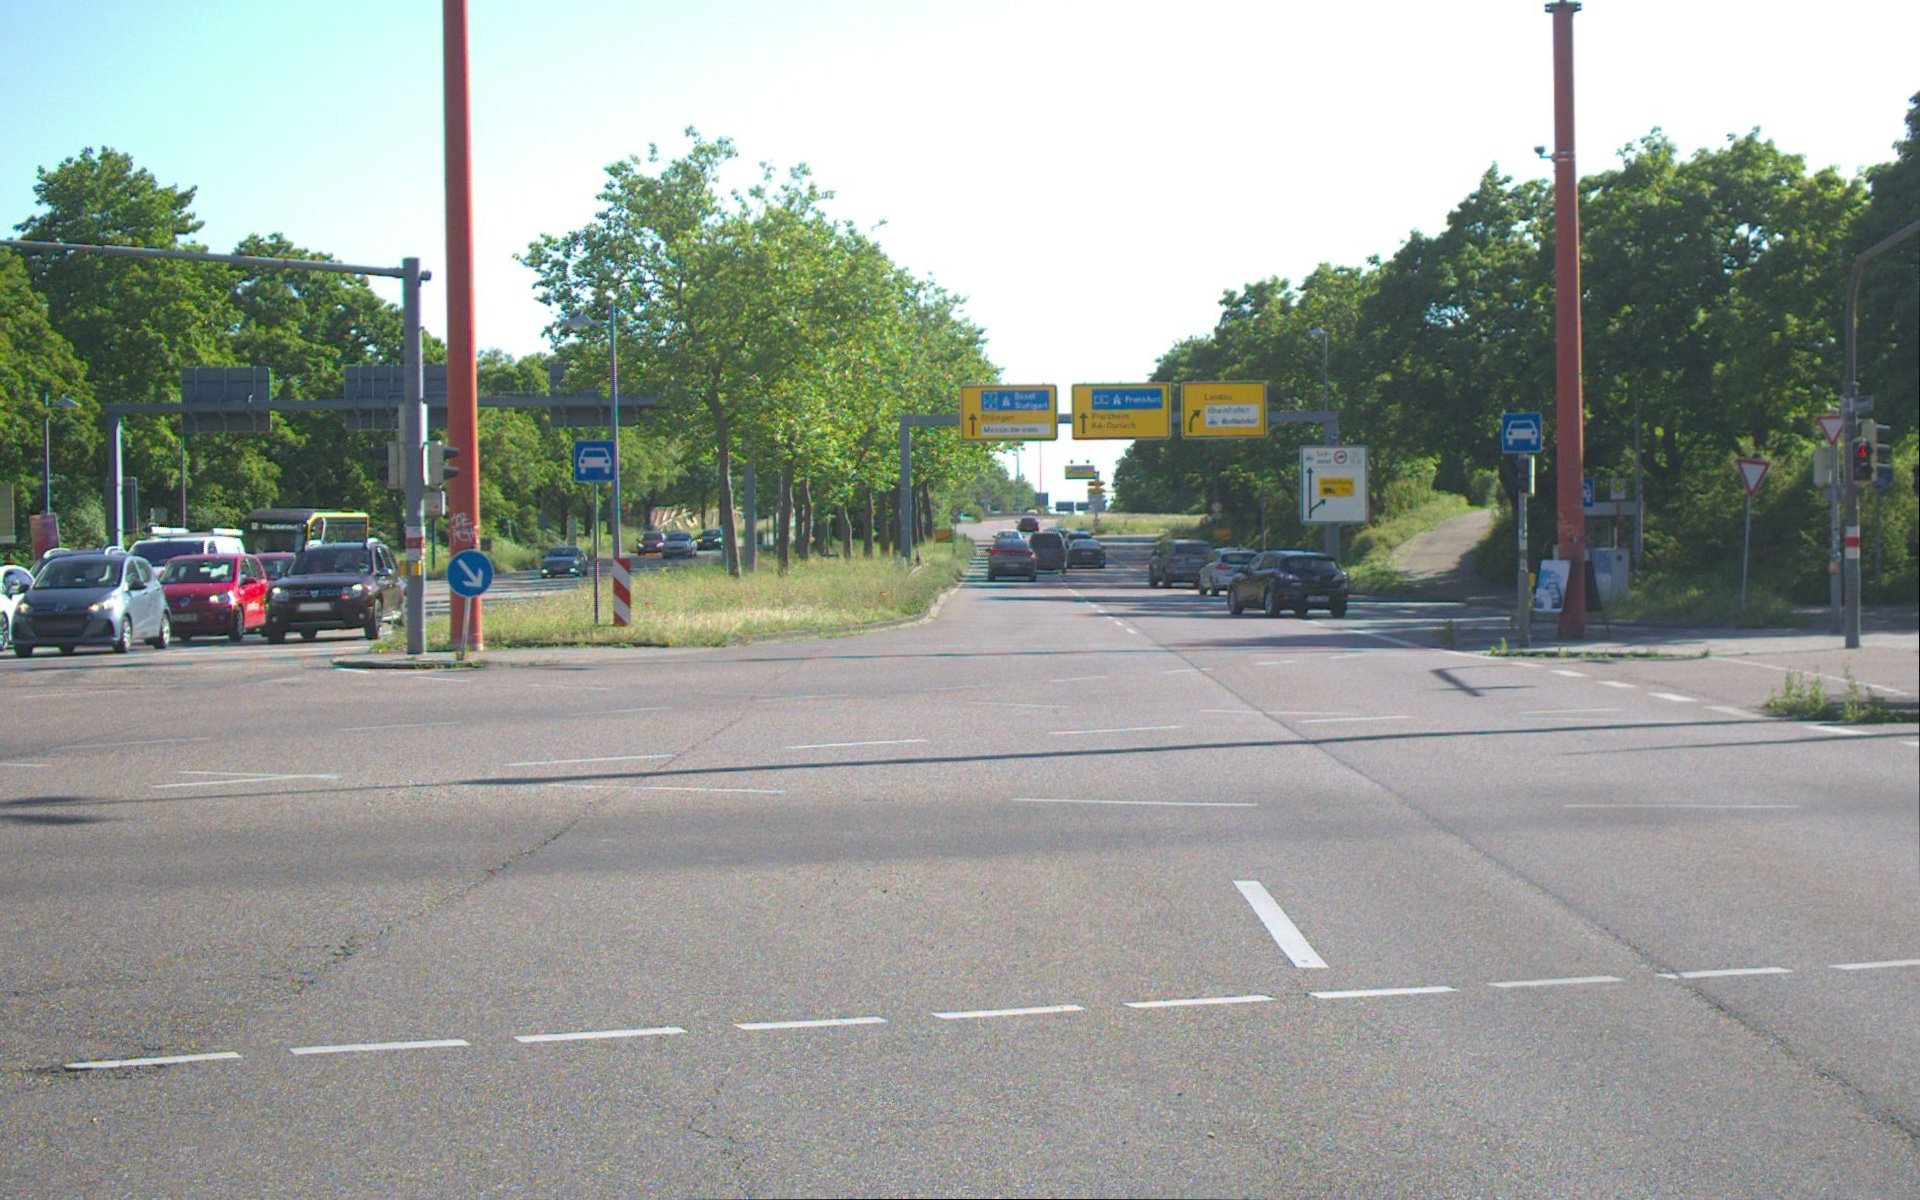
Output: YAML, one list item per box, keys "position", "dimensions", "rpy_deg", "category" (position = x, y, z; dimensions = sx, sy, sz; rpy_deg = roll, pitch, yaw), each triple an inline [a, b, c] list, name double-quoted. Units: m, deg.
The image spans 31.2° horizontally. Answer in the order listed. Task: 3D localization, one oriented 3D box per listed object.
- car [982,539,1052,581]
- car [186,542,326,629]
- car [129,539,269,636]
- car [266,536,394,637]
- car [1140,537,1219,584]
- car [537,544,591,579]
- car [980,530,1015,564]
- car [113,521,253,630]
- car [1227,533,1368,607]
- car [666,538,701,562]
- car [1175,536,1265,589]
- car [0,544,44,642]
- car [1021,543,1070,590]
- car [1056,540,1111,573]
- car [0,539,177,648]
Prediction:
- position: [2.155, -1.542, 131.605]
  dimensions: [2.245, 1.568, 4.282]
  rpy_deg: [-1, 1, -5]
  category: "car"
- position: [-13.116, -0.296, 64.250]
  dimensions: [1.993, 1.568, 4.121]
  rpy_deg: [-1, 1, -4]
  category: "car"
- position: [-12.899, -0.235, 58.471]
  dimensions: [1.993, 1.568, 4.122]
  rpy_deg: [-1, 1, -8]
  category: "car"
- position: [-10.247, -0.245, 56.151]
  dimensions: [1.876, 1.568, 4.122]
  rpy_deg: [-1, 1, -8]
  category: "car"
- position: [7.624, -1.393, 119.795]
  dimensions: [2.158, 1.568, 4.281]
  rpy_deg: [-1, 1, -4]
  category: "car"
- position: [-18.365, -1.792, 159.611]
  dimensions: [1.993, 1.568, 4.121]
  rpy_deg: [-1, 1, 0]
  category: "car"
- position: [2.232, -3.190, 205.827]
  dimensions: [1.993, 2.007, 4.000]
  rpy_deg: [-1, 1, -1]
  category: "car"
- position: [-16.114, -0.529, 71.511]
  dimensions: [2.062, 2.185, 4.379]
  rpy_deg: [-1, 1, -2]
  category: "car"
- position: [7.466, -0.688, 76.466]
  dimensions: [2.158, 1.568, 4.282]
  rpy_deg: [-1, 1, -8]
  category: "car"
- position: [-16.894, -3.055, 210.227]
  dimensions: [1.884, 1.449, 3.656]
  rpy_deg: [-1, 1, 0]
  category: "car"
- position: [7.955, -1.154, 105.568]
  dimensions: [2.158, 1.568, 4.281]
  rpy_deg: [-1, 1, -4]
  category: "car"
- position: [-16.488, -0.118, 57.039]
  dimensions: [1.993, 1.568, 4.122]
  rpy_deg: [-2, 1, -8]
  category: "car"
- position: [3.722, -1.479, 150.271]
  dimensions: [1.993, 2.007, 4.000]
  rpy_deg: [-1, 1, -1]
  category: "car"
- position: [5.901, -2.088, 164.673]
  dimensions: [2.158, 1.568, 4.281]
  rpy_deg: [-1, 1, -4]
  category: "car"
- position: [-13.253, -0.132, 52.170]
  dimensions: [1.993, 1.568, 4.121]
  rpy_deg: [-1, 1, -3]
  category: "car"
